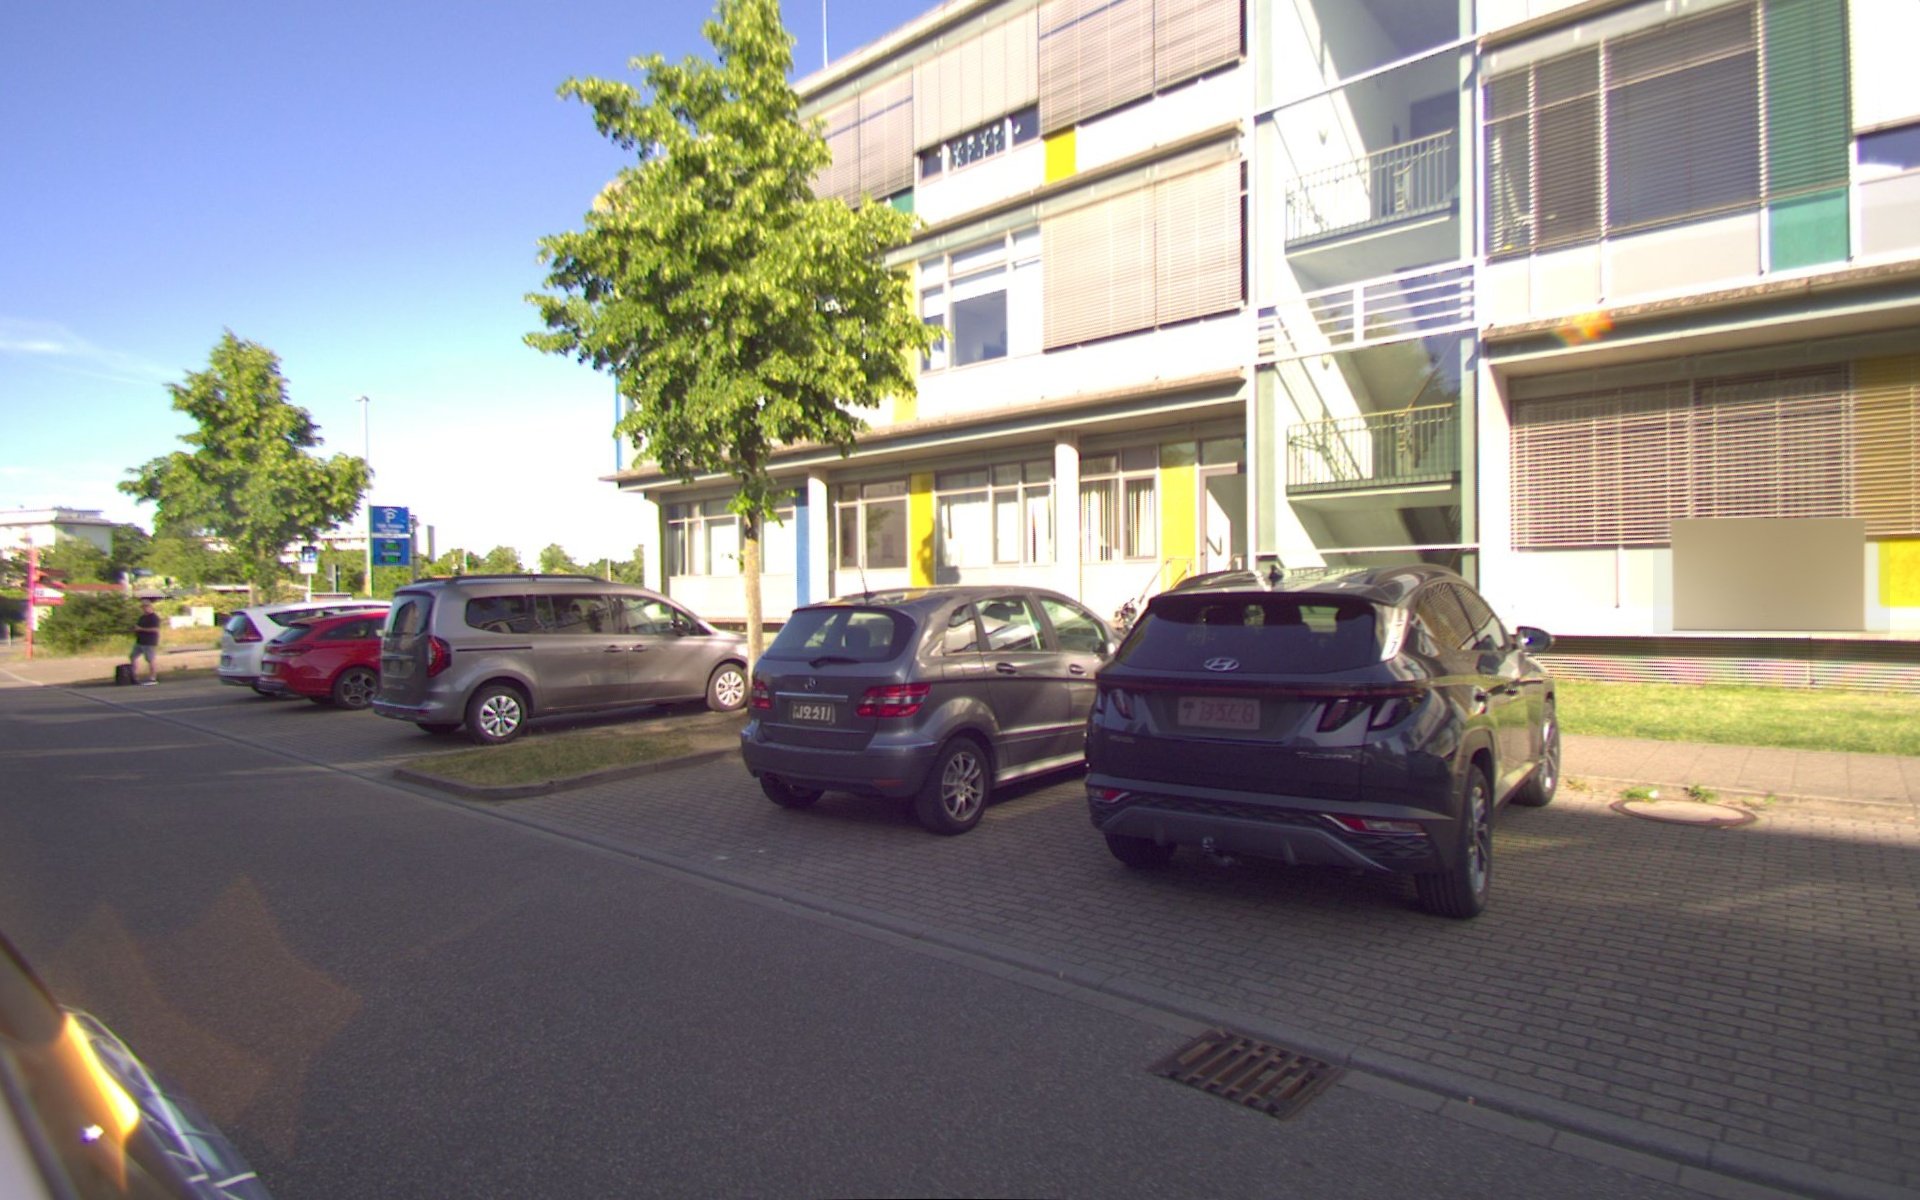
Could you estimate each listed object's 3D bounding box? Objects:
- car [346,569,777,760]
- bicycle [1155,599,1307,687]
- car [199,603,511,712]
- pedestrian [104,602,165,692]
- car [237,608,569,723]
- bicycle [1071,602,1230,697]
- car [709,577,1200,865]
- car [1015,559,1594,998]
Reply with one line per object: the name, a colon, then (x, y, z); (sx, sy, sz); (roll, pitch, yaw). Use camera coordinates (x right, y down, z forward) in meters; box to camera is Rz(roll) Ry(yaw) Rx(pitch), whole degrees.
car: (-4.747, 0.614, 12.694); (1.827, 1.879, 4.693); (-1, 2, 41)
bicycle: (3.930, 0.587, 14.811); (0.858, 1.162, 1.996); (-3, 2, -39)
car: (-10.883, 0.932, 18.447); (1.868, 1.663, 4.560); (-1, 0, 44)
pedestrian: (-17.782, 0.998, 21.802); (0.825, 1.856, 0.848); (-1, 1, 43)
car: (-8.906, 0.943, 16.483); (1.827, 1.512, 4.387); (-1, 0, 41)
bicycle: (2.601, 0.634, 14.167); (0.857, 1.162, 2.380); (-2, 2, -28)
car: (0.201, 0.688, 8.065); (1.869, 1.619, 3.950); (-1, 1, 37)
car: (2.367, 0.610, 6.057); (2.045, 1.624, 4.207); (-1, 1, 37)
